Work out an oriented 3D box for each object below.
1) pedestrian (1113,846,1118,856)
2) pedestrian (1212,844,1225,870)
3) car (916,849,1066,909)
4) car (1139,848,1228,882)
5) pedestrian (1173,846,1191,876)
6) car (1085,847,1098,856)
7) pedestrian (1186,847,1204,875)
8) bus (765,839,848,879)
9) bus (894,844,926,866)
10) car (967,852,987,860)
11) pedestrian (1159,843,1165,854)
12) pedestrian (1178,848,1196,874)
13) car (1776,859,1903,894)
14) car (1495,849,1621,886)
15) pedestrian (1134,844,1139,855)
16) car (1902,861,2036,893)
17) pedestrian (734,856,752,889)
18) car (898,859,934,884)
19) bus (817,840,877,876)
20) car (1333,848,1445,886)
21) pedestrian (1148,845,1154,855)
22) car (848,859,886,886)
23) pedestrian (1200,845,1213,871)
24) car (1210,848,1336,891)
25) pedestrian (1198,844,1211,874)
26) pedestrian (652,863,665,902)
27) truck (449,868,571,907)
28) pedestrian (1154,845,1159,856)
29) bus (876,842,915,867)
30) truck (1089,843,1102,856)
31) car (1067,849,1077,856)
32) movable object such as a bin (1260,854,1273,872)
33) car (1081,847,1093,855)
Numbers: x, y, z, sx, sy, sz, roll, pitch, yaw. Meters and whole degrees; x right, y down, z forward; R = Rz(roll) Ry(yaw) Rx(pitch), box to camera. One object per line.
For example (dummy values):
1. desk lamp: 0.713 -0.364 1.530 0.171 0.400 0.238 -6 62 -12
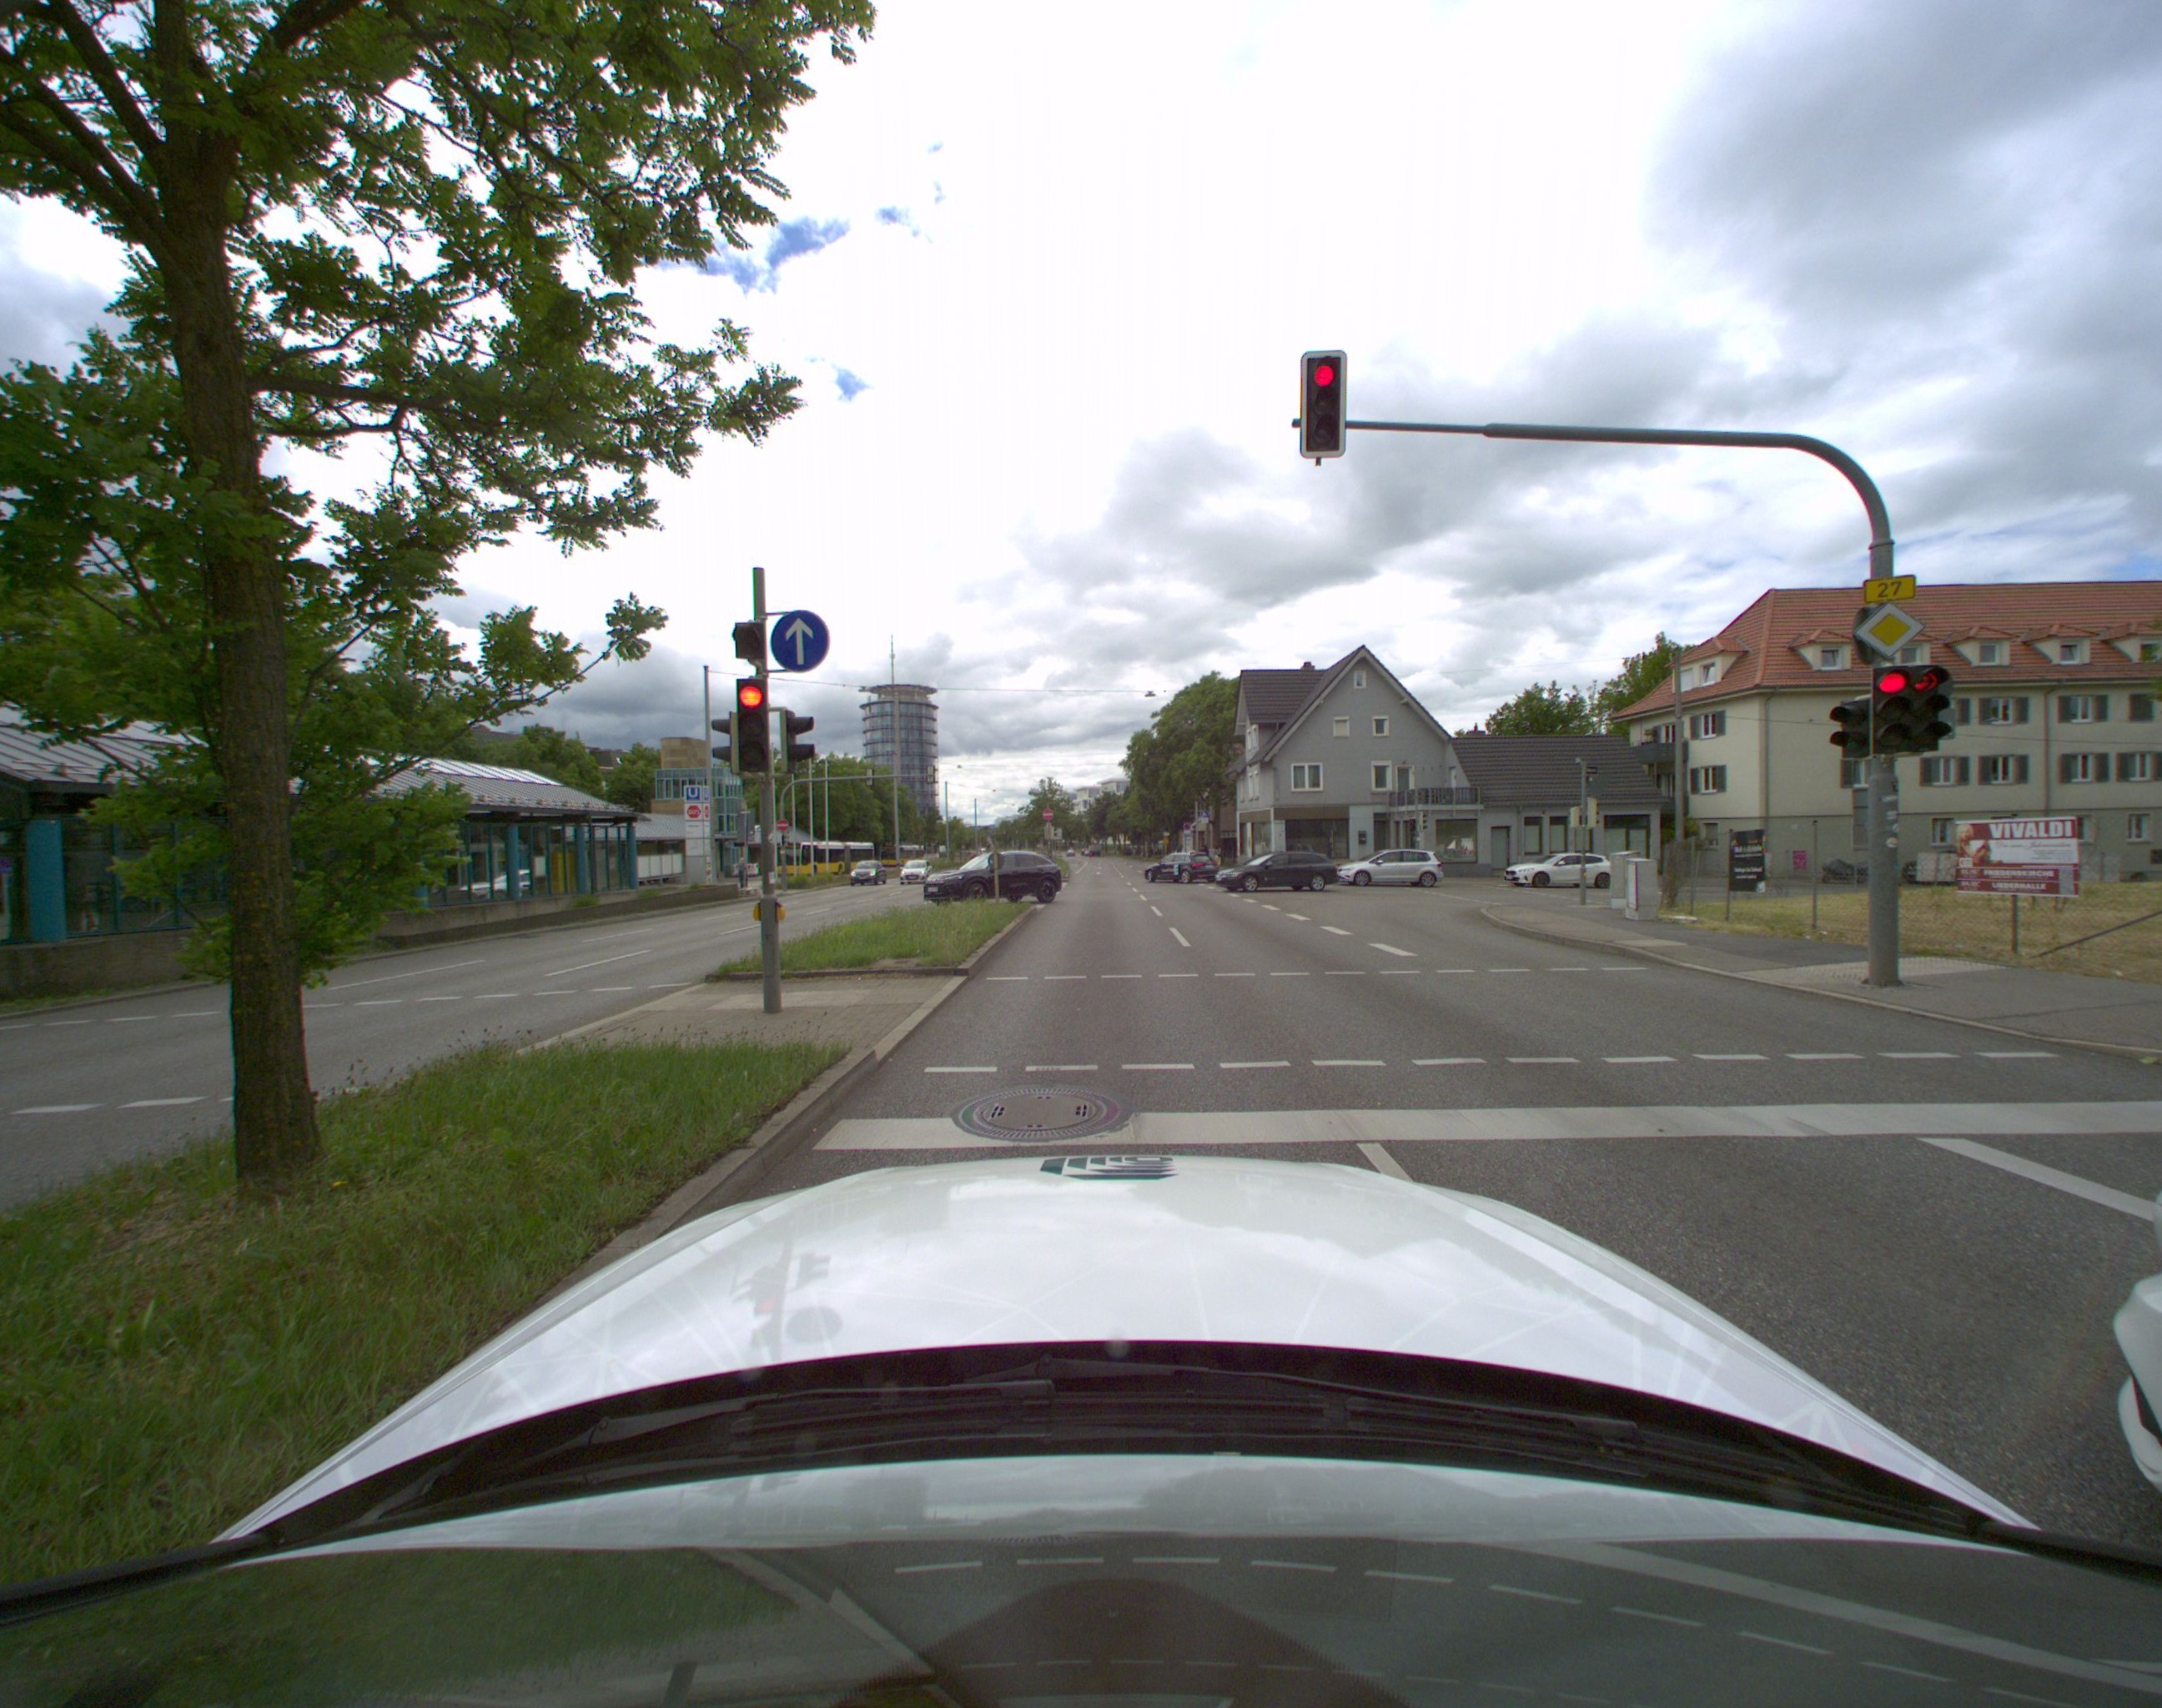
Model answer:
1. pedestrian: 7.727 -0.706 180.829 0.930 2.308 1.008 0 -1 -8
2. pedestrian: 9.023 0.180 53.474 0.700 1.662 0.873 -2 0 13
3. car: -2.610 0.681 24.094 4.094 1.521 1.819 -2 0 -42
4. car: 4.840 0.527 38.865 1.904 1.494 4.053 -2 0 -37
5. pedestrian: 6.158 0.433 49.610 0.866 1.780 0.706 -2 0 -7
6. car: 2.085 -0.464 165.280 2.246 1.757 4.928 -2 0 -3
7. pedestrian: 7.265 0.445 51.846 0.873 1.780 0.700 -2 0 -32
8. bus: -24.331 0.404 72.862 2.975 3.250 10.186 -2 0 6
9. bus: -26.047 0.127 124.321 3.134 3.225 7.765 -2 0 0
10. car: -21.122 0.456 165.249 3.532 1.492 1.710 -2 0 5
11. pedestrian: 12.434 -0.828 124.901 0.649 1.570 0.669 -2 0 -6
12. pedestrian: 6.354 0.426 48.786 0.866 1.507 0.706 -2 0 -7
13. car: 34.037 0.988 36.613 3.972 1.537 1.871 0 0 2
14. car: 20.249 0.567 34.679 4.232 1.477 1.998 0 0 -3
15. pedestrian: 10.313 -0.775 151.087 0.967 2.014 0.981 0 -1 1
16. car: 39.807 1.026 36.576 3.972 1.377 1.871 0 0 2
17. pedestrian: -19.355 1.048 46.601 0.658 1.897 0.686 -2 0 1
18. car: -10.345 1.056 51.317 1.680 1.462 3.552 -2 0 -3
19. bus: -23.360 0.371 81.862 2.975 3.270 7.889 -2 0 6
20. car: 12.945 0.522 34.383 4.084 1.540 1.830 0 0 2
21. pedestrian: 10.738 -0.614 124.918 0.649 1.570 0.669 -2 0 -6
22. car: -13.499 1.148 51.528 1.681 1.578 3.344 -2 0 -4
23. pedestrian: 8.297 0.238 53.729 0.700 1.662 0.874 -2 0 16
24. car: 7.102 0.553 30.245 4.279 1.481 1.707 -1 1 -13
25. pedestrian: 7.268 0.300 47.902 0.701 1.760 1.055 -2 0 10
26. pedestrian: -17.449 1.172 33.632 0.420 1.591 0.353 -2 0 -28
27. truck: -25.236 1.437 36.065 1.974 1.517 4.025 -2 0 40
28. pedestrian: 11.541 -0.565 124.855 0.649 1.570 0.669 -2 0 -6
29. bus: -26.104 0.101 115.312 3.135 3.225 10.282 -2 0 0
30. truck: 2.742 -0.808 156.691 2.246 2.416 4.928 -1 0 -3
31. car: -1.923 -0.346 173.468 1.963 1.420 4.017 -2 0 -3
32. movable object such as a bin: 10.026 0.478 43.953 0.527 0.979 0.737 -2 0 2
33. car: 1.277 -0.547 174.102 2.246 1.647 4.927 -2 0 -3
